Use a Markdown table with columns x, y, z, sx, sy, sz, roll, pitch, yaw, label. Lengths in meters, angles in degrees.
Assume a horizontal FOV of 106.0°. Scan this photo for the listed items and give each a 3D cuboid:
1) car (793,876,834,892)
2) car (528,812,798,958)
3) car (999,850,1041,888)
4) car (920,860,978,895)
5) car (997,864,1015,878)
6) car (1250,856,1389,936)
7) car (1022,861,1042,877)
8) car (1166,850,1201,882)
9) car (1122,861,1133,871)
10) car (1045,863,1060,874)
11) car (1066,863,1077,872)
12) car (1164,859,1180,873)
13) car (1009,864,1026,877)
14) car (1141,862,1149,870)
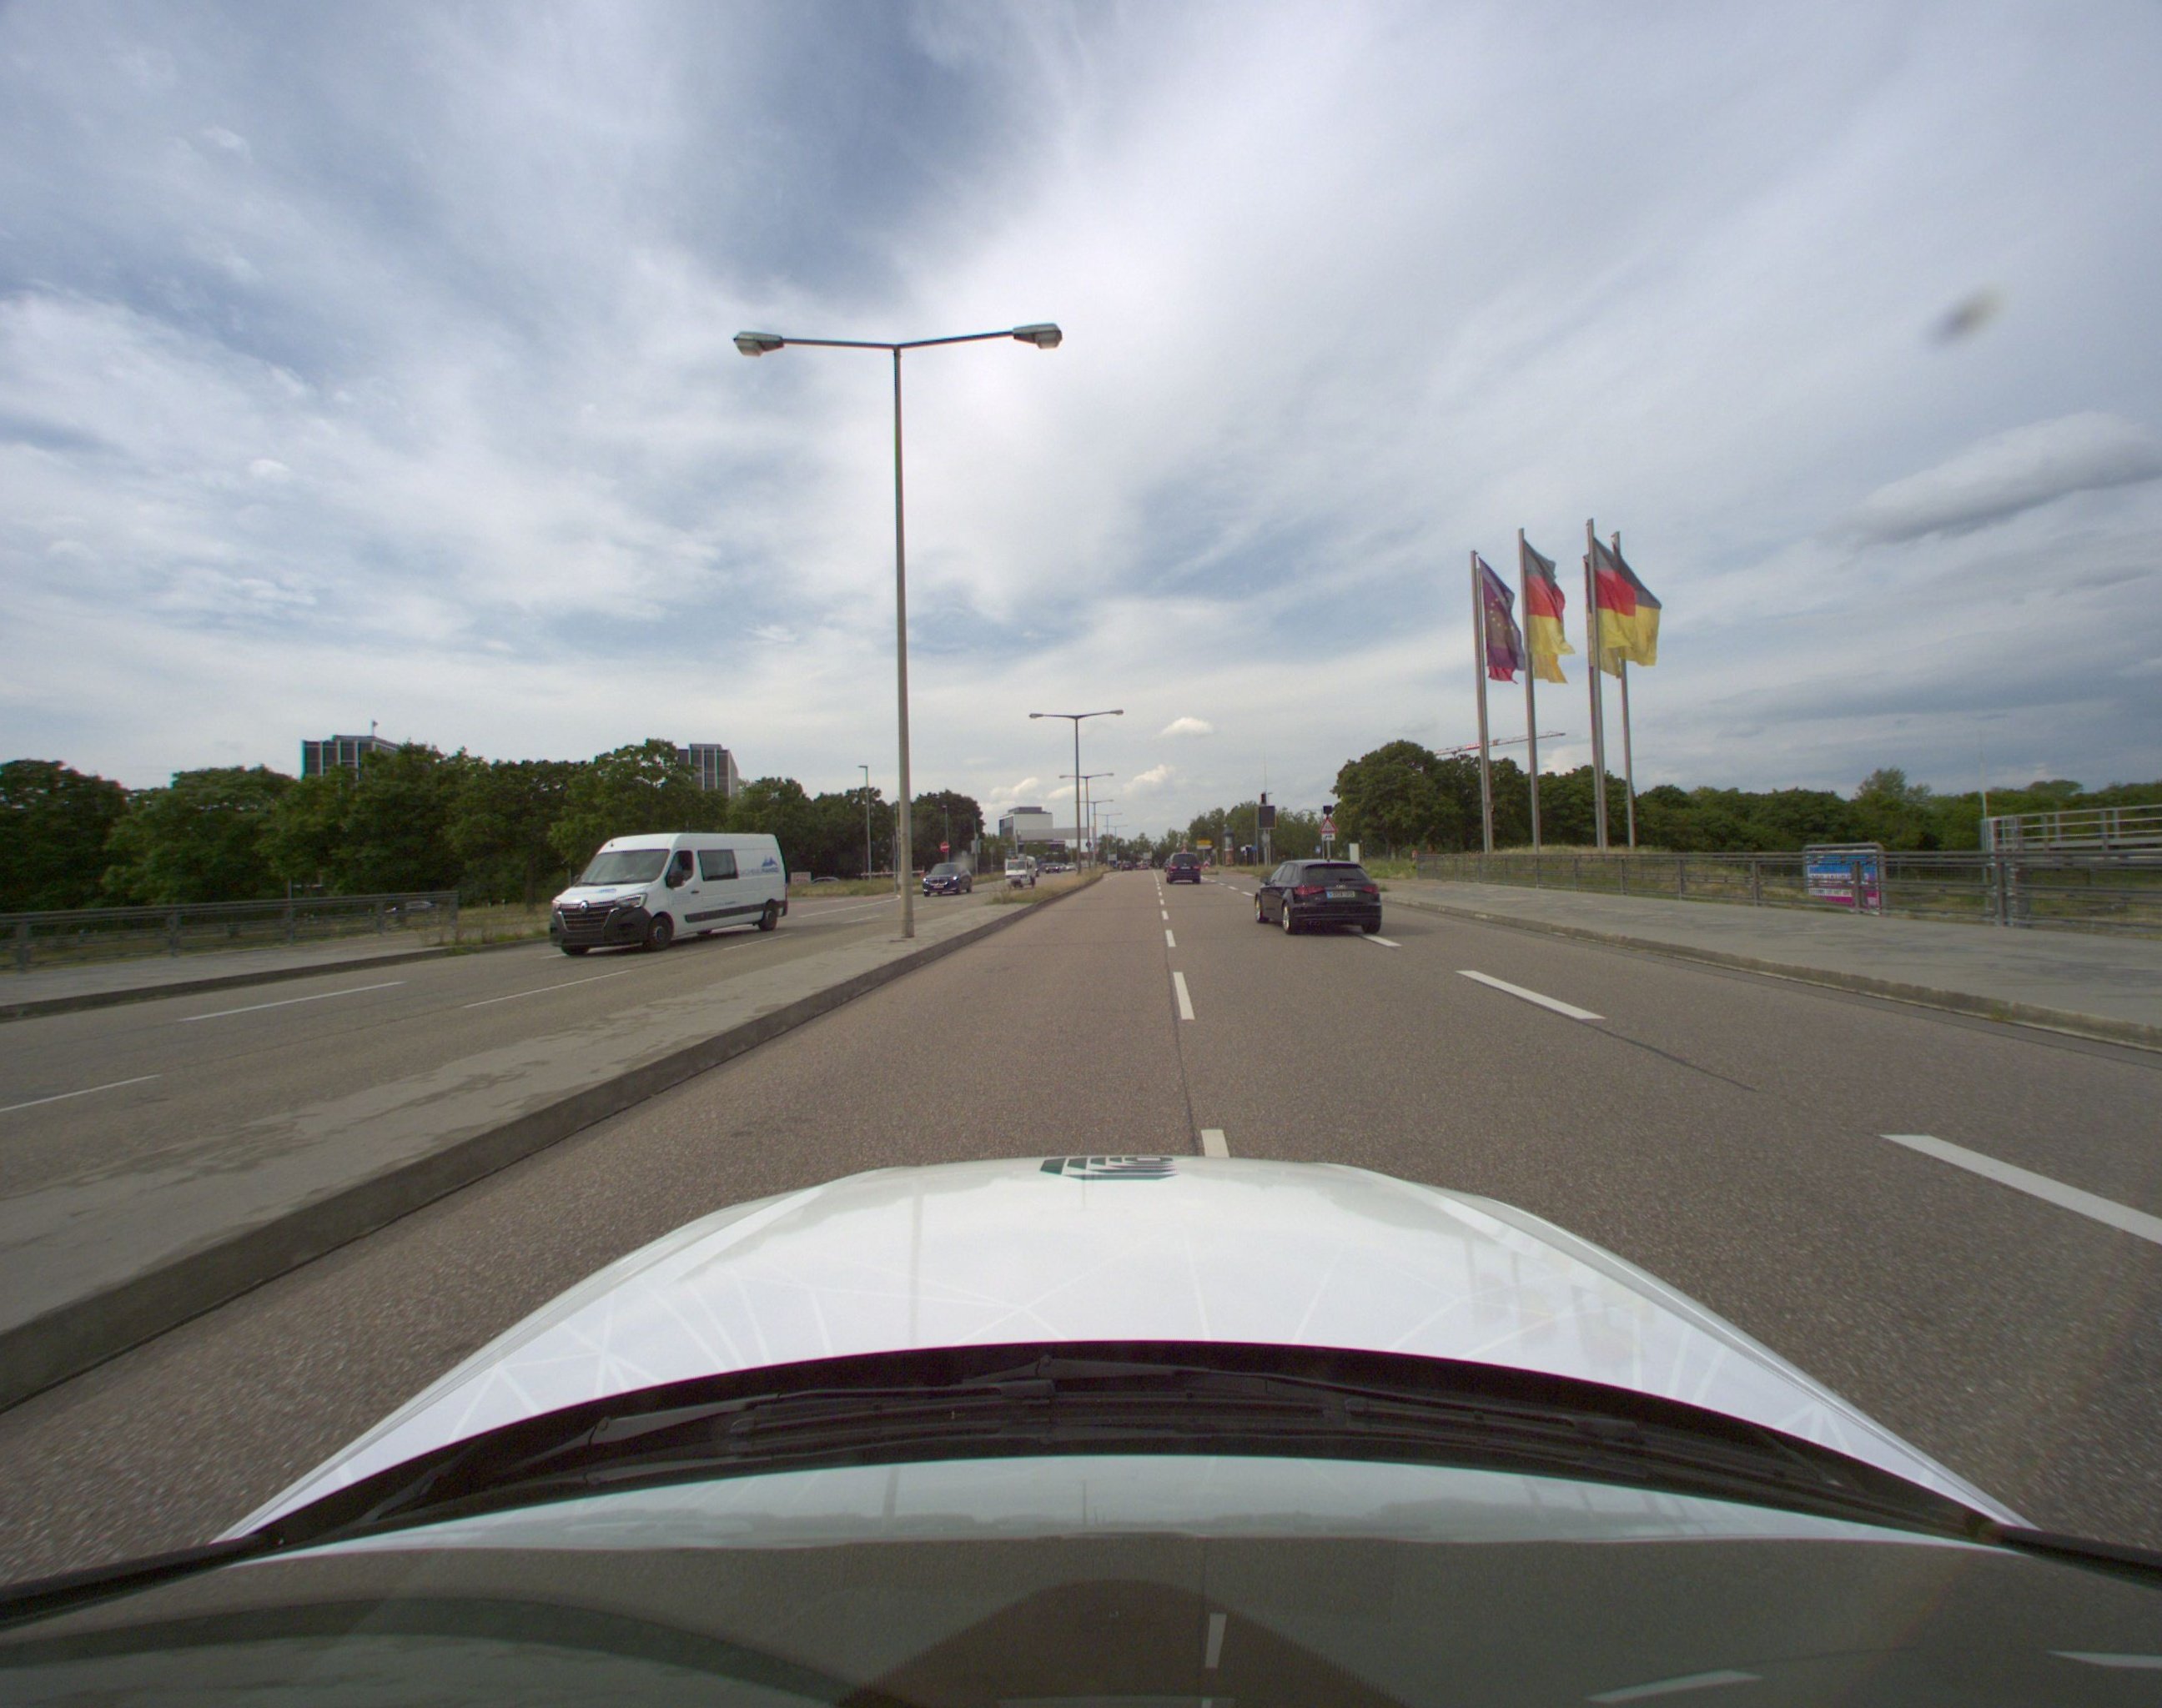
| x | y | z | sx | sy | sz | roll | pitch | yaw | label |
| --- | --- | --- | --- | --- | --- | --- | --- | --- | --- |
| -28.601 | 3.193 | 86.994 | 3.893 | 1.396 | 1.558 | -2 | -1 | -32 | car |
| -8.986 | 0.575 | 18.495 | 2.042 | 2.643 | 6.413 | -3 | 0 | 7 | car |
| -3.253 | 0.771 | 44.115 | 1.532 | 1.871 | 3.576 | -3 | 0 | 6 | car |
| -6.677 | 1.155 | 41.677 | 1.738 | 1.585 | 4.594 | -3 | 0 | 6 | car |
| -10.991 | 2.487 | 119.102 | 1.985 | 2.013 | 4.004 | -1 | 0 | 3 | car |
| 4.672 | 0.771 | 16.587 | 1.724 | 1.395 | 4.116 | -1 | -1 | 2 | car |
| -5.247 | 1.630 | 87.887 | 1.644 | 1.574 | 4.341 | -4 | -1 | 3 | car |
| 5.749 | 0.670 | 45.942 | 1.723 | 1.653 | 4.119 | -1 | -1 | 4 | car |
| 7.714 | 2.036 | 134.976 | 1.723 | 1.653 | 4.119 | -1 | -1 | 4 | car |
| -4.055 | 2.091 | 116.408 | 1.738 | 1.475 | 4.568 | -3 | 0 | 3 | car |
| -1.845 | 2.529 | 157.841 | 1.738 | 1.598 | 4.567 | -3 | 0 | 2 | car |
| 11.032 | 1.438 | 98.451 | 1.723 | 1.653 | 4.119 | -1 | -1 | 4 | car |
| -8.897 | 2.315 | 114.575 | 1.986 | 1.750 | 4.002 | -1 | 0 | 2 | car |
| 13.671 | 2.557 | 174.260 | 1.723 | 1.526 | 4.119 | -1 | -1 | 4 | car |
